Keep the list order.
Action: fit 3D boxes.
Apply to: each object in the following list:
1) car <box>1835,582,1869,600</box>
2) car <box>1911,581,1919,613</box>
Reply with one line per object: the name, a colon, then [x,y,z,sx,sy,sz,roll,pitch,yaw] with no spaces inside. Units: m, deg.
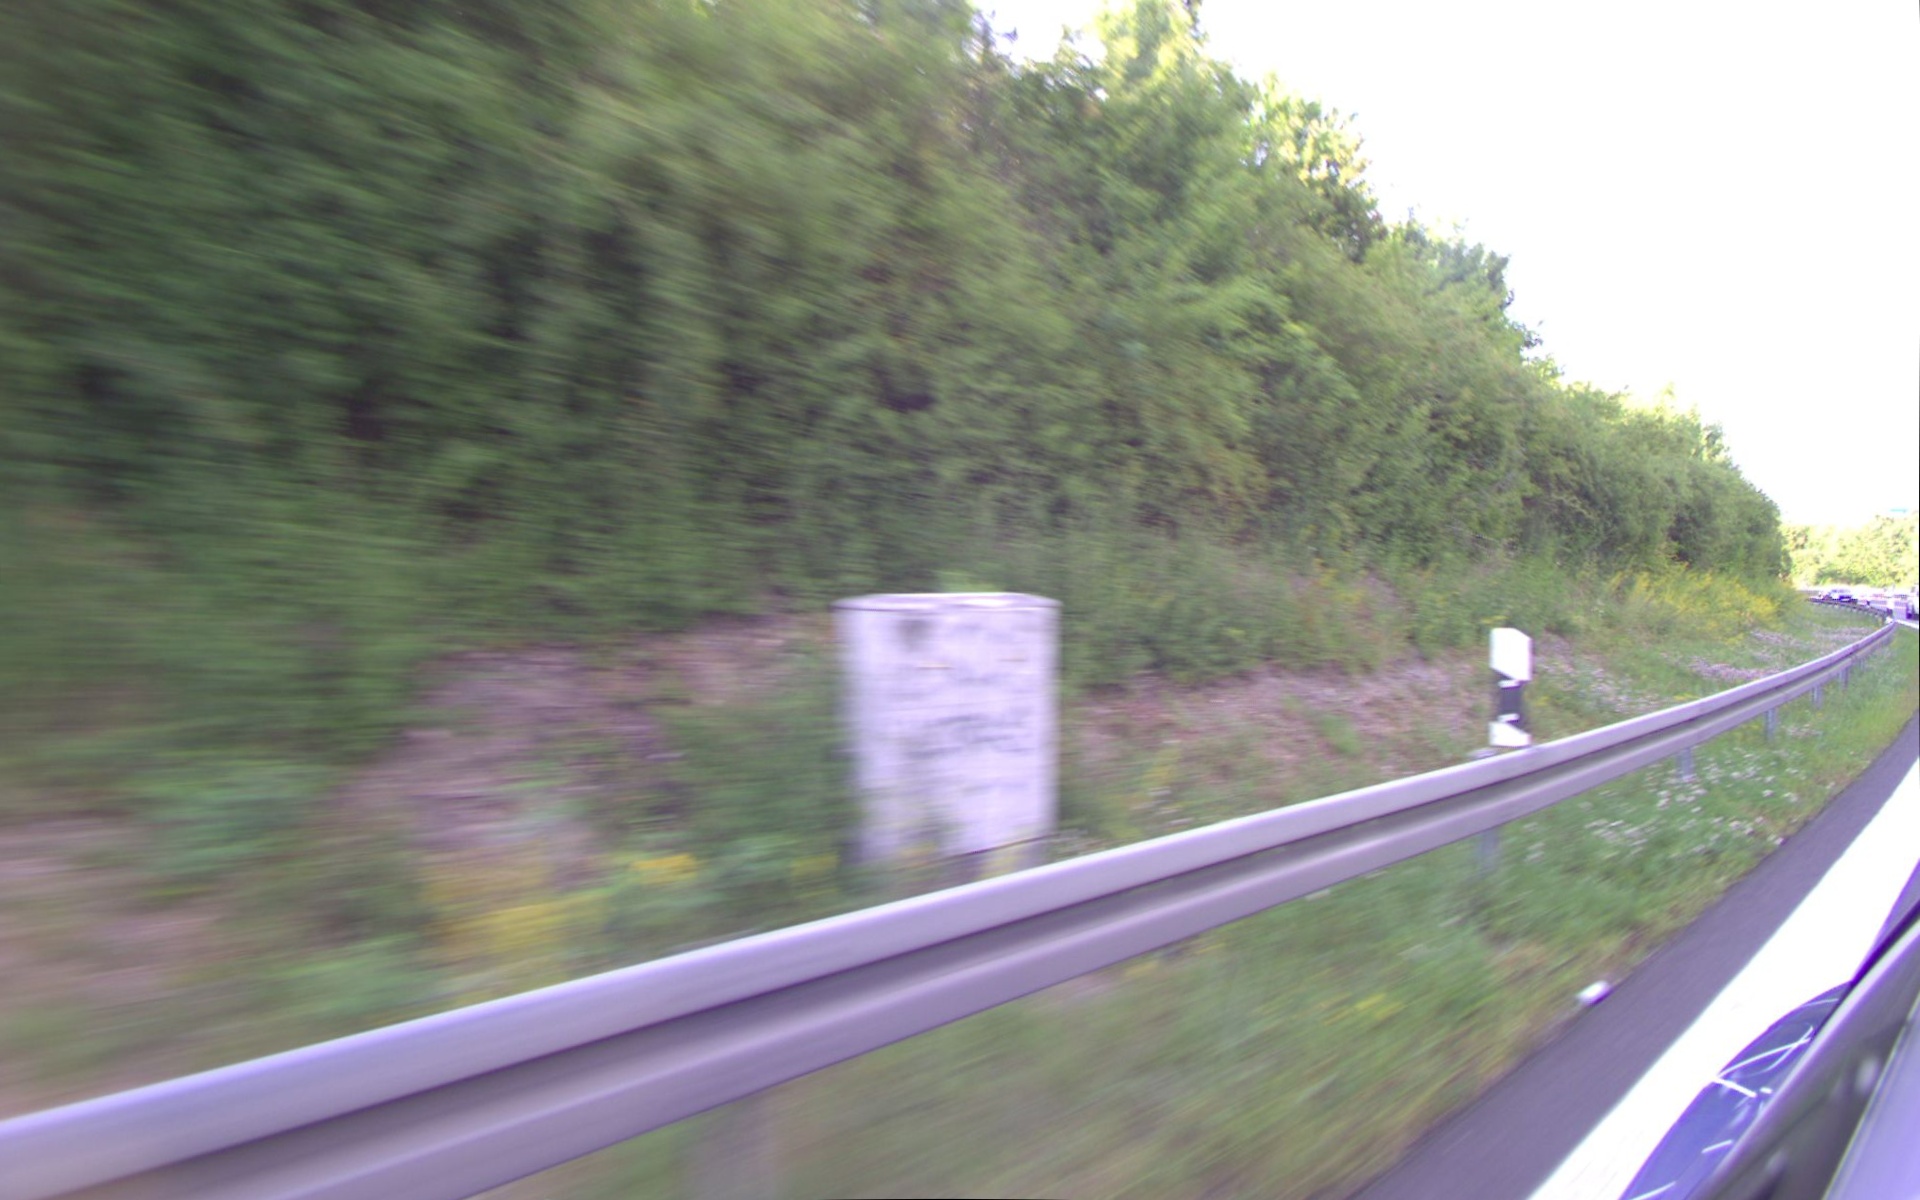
car: [75.667,-0.790,85.919,1.609,1.478,3.621,0,2,33]
car: [50.891,-0.157,52.390,1.894,1.685,3.949,1,1,36]
